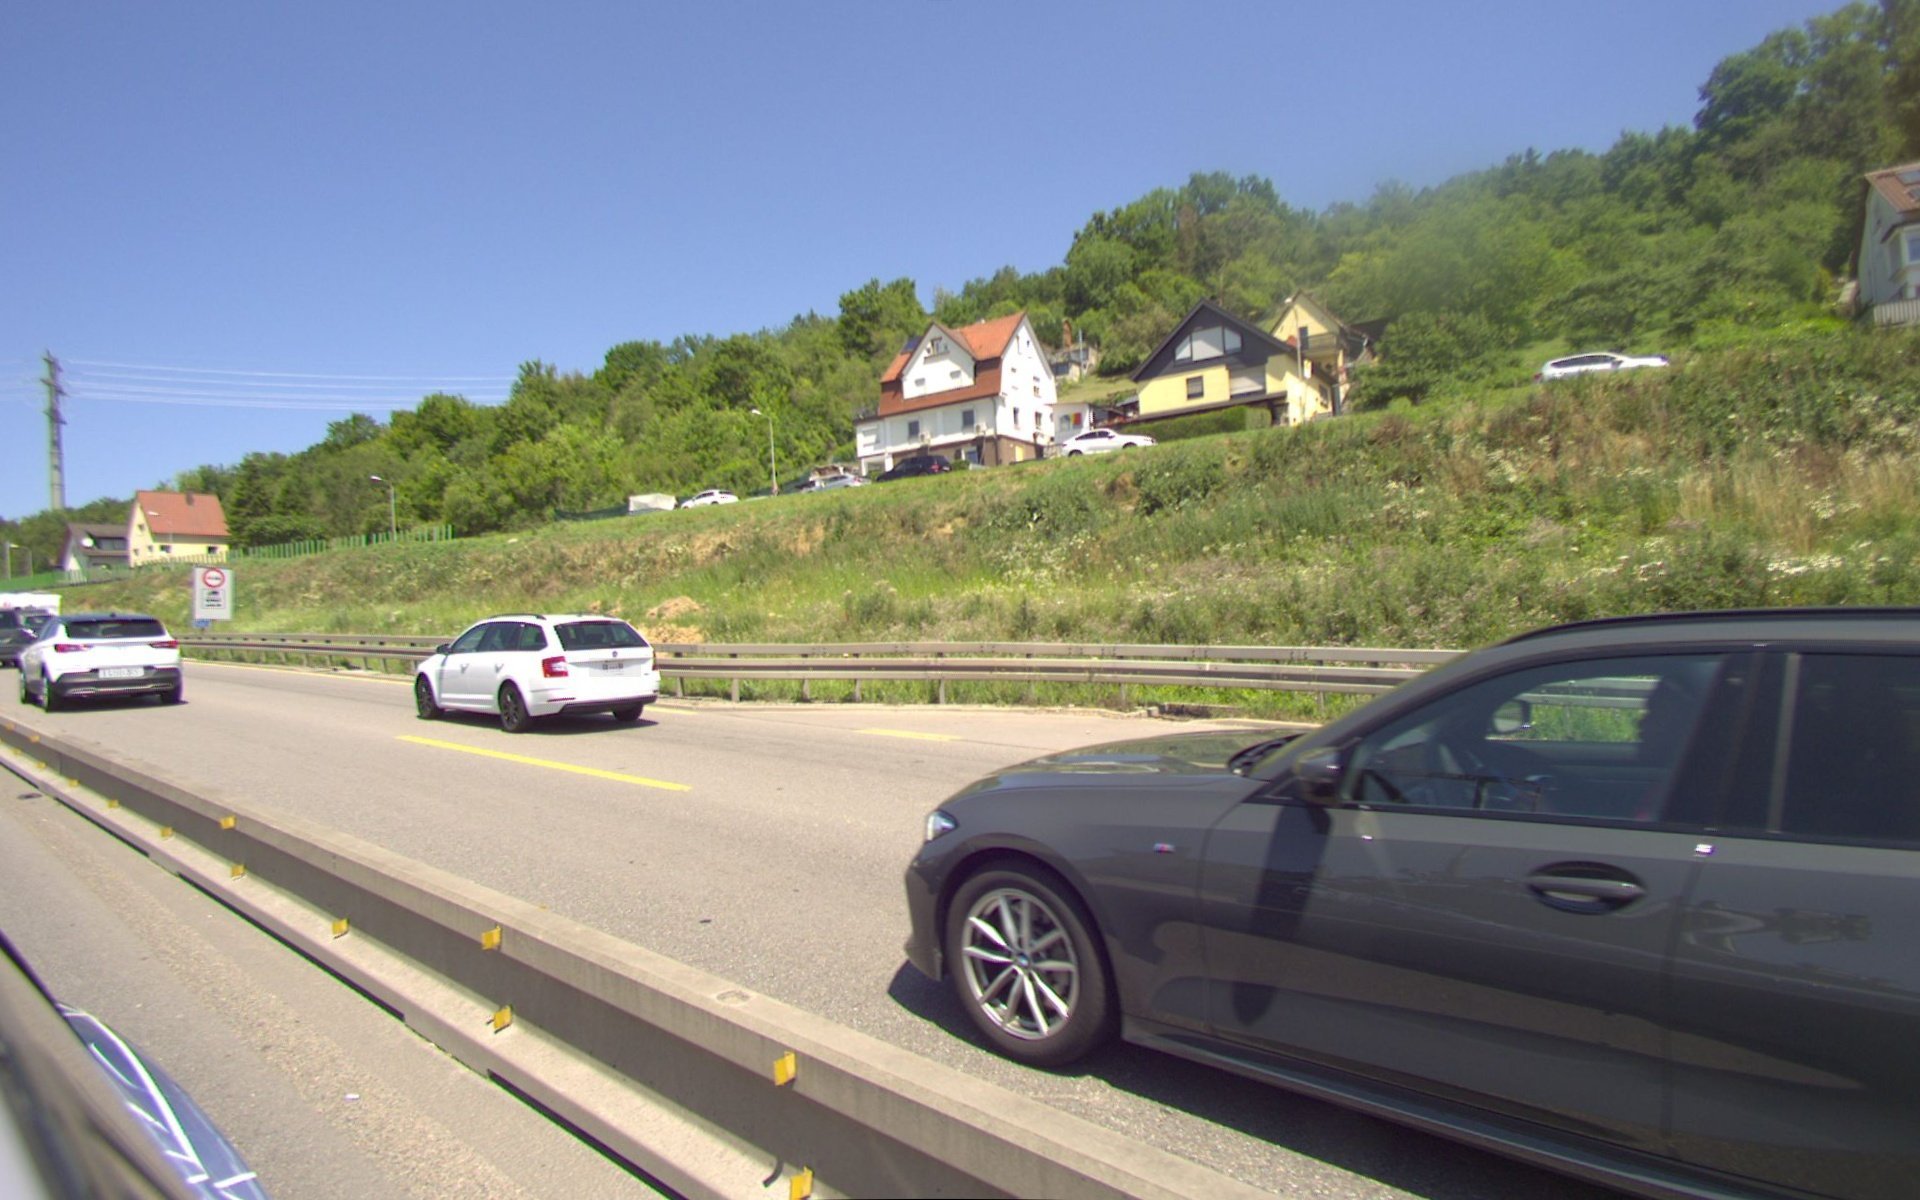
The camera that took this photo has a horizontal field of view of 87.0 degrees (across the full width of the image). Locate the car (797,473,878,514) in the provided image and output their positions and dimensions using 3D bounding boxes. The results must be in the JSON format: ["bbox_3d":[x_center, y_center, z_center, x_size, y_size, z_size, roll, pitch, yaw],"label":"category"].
[{"bbox_3d":[-6.943,-5.991,57.276,4.421,1.886,1.976,0,0,36],"label":"car"}]

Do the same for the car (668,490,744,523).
[{"bbox_3d":[-15.809,-5.786,62.978,4.537,1.668,1.979,0,0,32],"label":"car"}]

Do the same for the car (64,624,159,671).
[{"bbox_3d":[-28.869,1.570,34.382,4.553,1.442,1.791,-2,0,41],"label":"car"}]

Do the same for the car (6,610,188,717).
[{"bbox_3d":[-15.215,1.034,17.773,4.169,1.652,1.788,-2,-1,40],"label":"car"}]

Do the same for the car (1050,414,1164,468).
[{"bbox_3d":[6.888,-7.408,47.579,4.999,1.807,1.977,0,0,35],"label":"car"}]

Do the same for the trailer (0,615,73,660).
[{"bbox_3d":[-42.309,1.675,46.204,5.138,1.908,2.079,-2,-1,41],"label":"trailer"}]

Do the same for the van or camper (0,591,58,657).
[{"bbox_3d":[-46.786,1.182,50.178,6.920,3.090,2.267,-2,-1,41],"label":"van or camper"}]

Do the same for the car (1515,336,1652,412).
[{"bbox_3d":[21.934,-7.901,35.654,3.990,1.807,1.977,0,0,35],"label":"car"}]

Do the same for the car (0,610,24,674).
[{"bbox_3d":[-32.317,1.371,33.098,4.902,2.029,1.891,-1,-1,40],"label":"car"}]

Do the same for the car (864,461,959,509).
[{"bbox_3d":[-2.648,-6.131,54.476,4.963,2.023,2.052,0,0,36],"label":"car"}]

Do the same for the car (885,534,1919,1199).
[{"bbox_3d":[1.958,0.644,2.695,4.353,1.477,1.779,-1,-2,41],"label":"car"}]

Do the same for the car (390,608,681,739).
[{"bbox_3d":[-5.913,0.902,13.820,4.596,1.508,1.785,-2,-2,40],"label":"car"}]

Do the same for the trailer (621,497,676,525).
[{"bbox_3d":[-20.222,-5.776,65.789,3.026,1.527,1.888,0,0,30],"label":"trailer"}]
